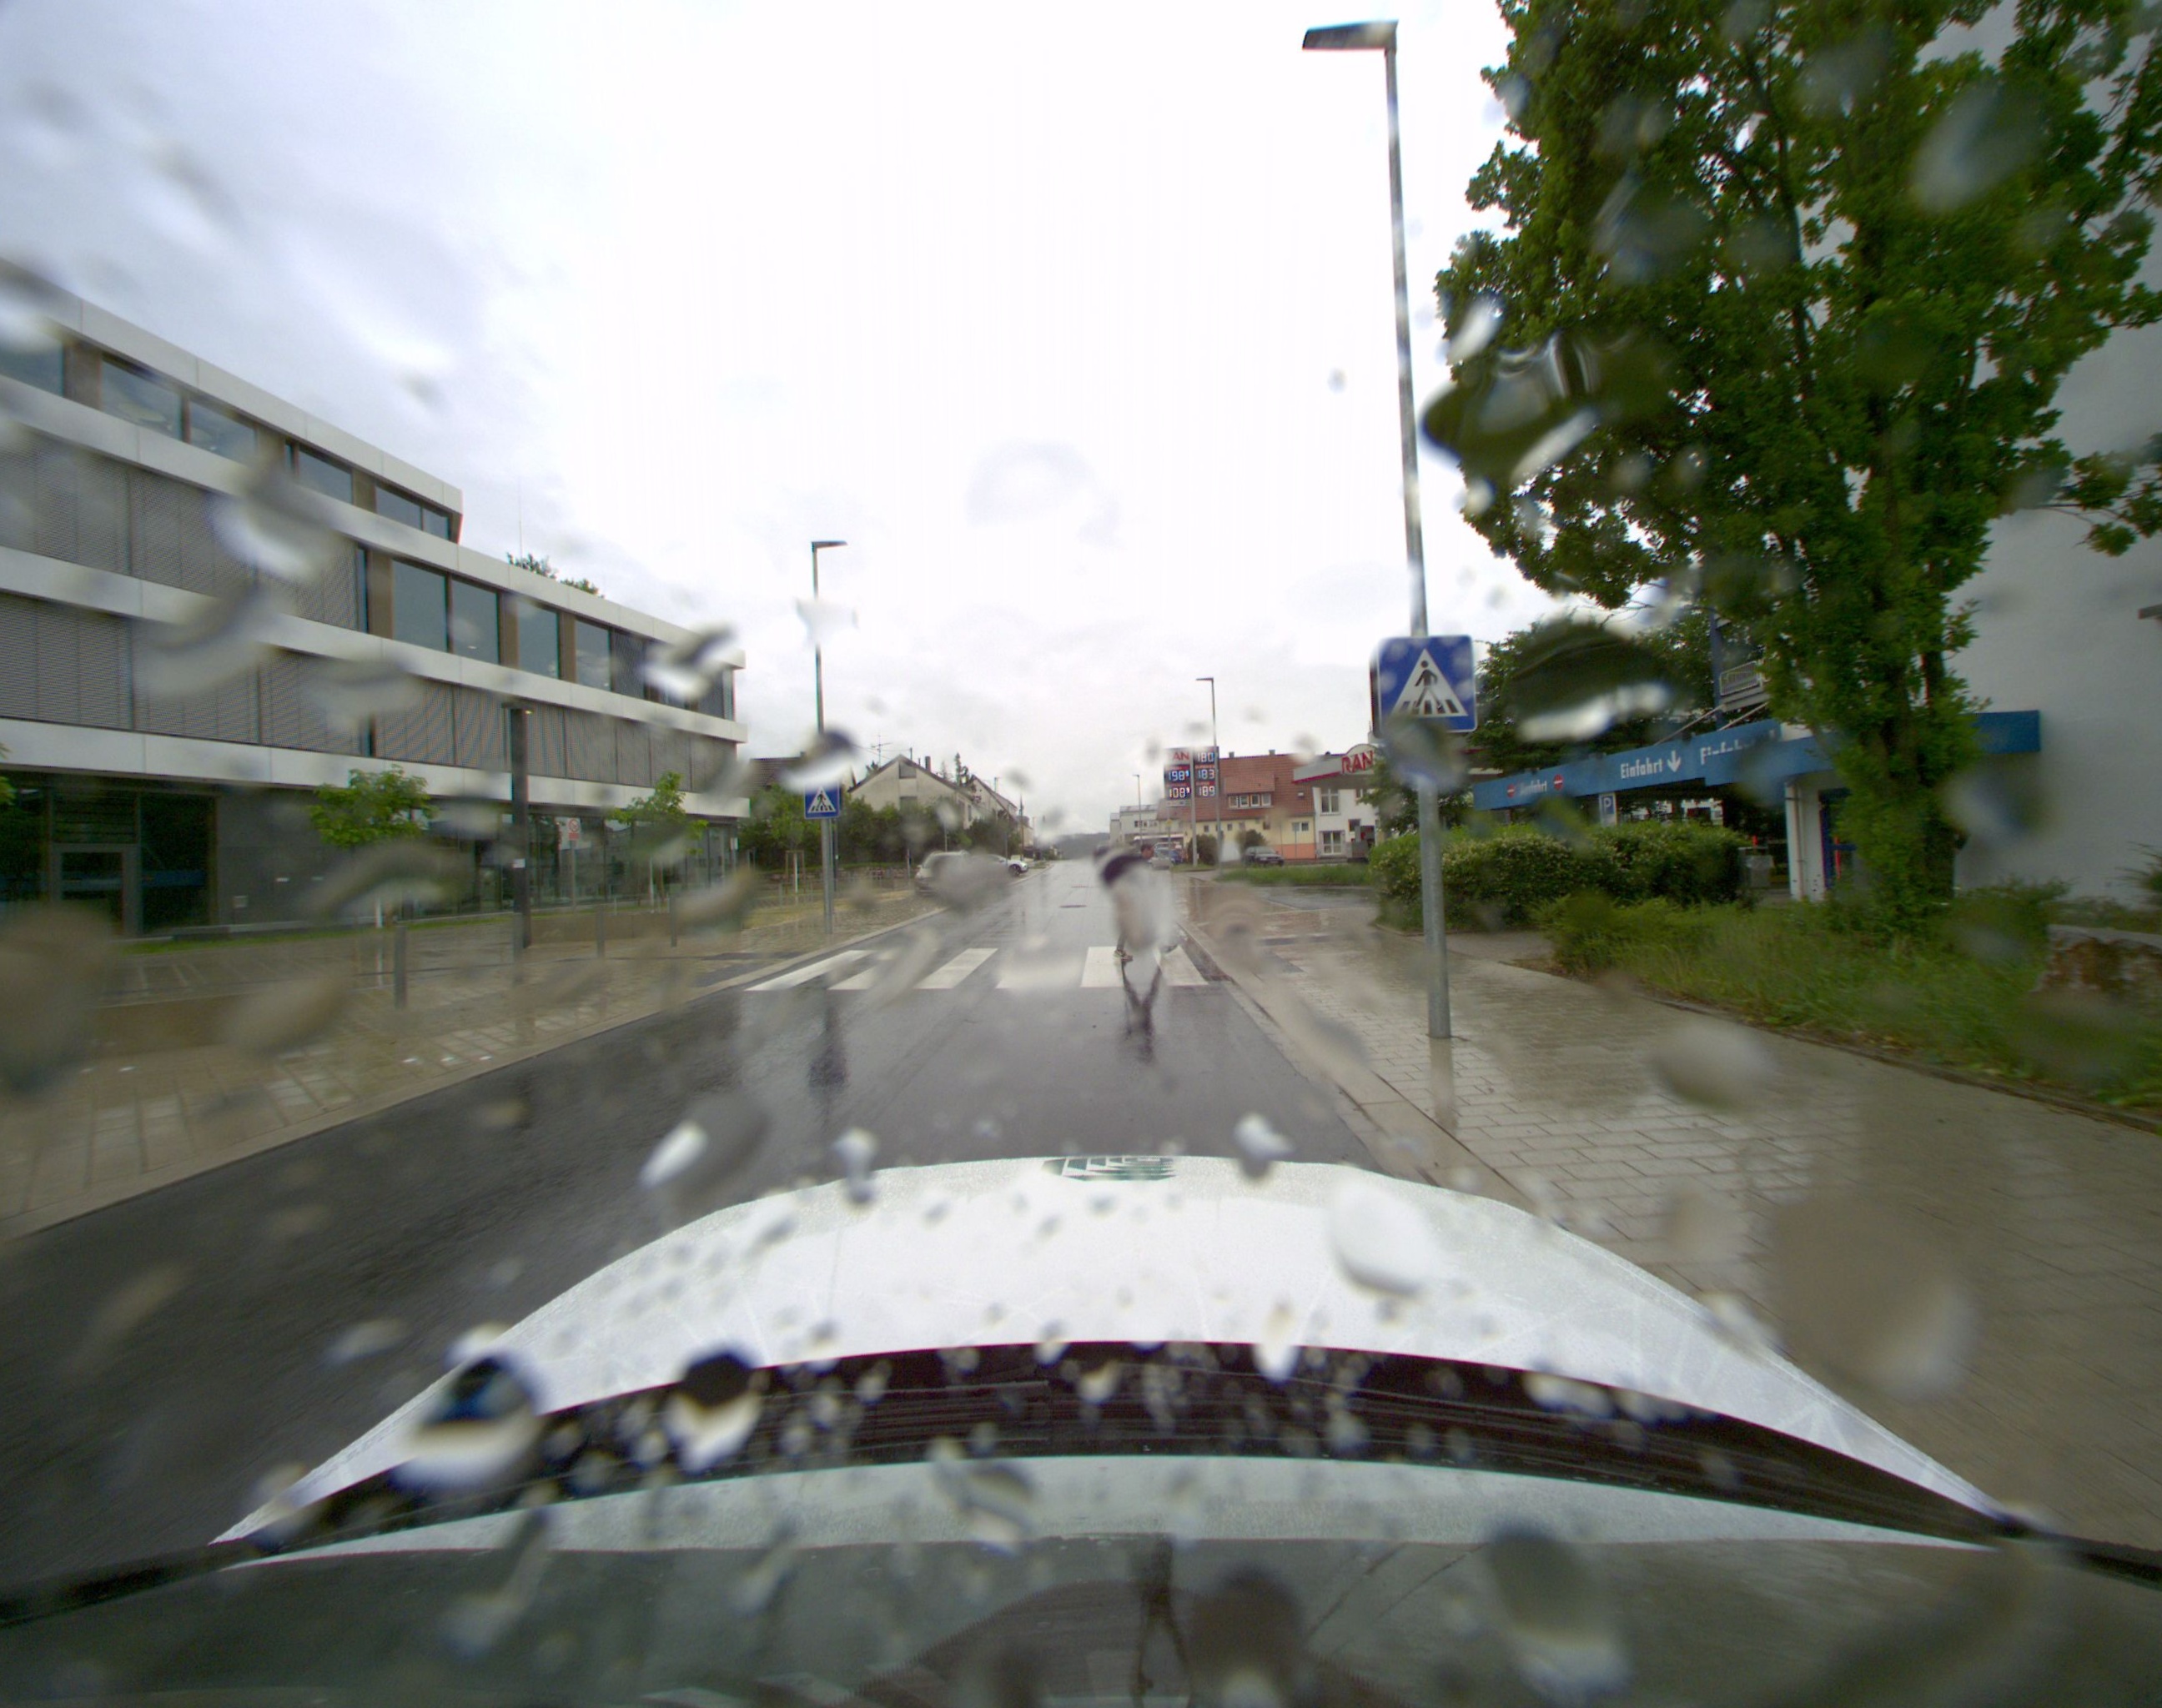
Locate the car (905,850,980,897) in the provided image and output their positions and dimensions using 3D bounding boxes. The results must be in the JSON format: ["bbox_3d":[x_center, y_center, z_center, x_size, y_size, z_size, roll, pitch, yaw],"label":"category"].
[{"bbox_3d":[-5.261,0.690,31.453,1.986,1.629,4.155,-3,0,2],"label":"car"}]

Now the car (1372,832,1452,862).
[{"bbox_3d":[17.624,-0.362,43.357,3.526,1.556,1.942,0,-1,-19],"label":"car"}]

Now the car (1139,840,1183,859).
[{"bbox_3d":[7.927,-0.435,80.849,4.101,1.706,1.787,1,-2,-2],"label":"car"}]

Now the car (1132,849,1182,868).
[{"bbox_3d":[6.416,0.368,68.149,3.962,1.493,1.863,1,-2,10],"label":"car"}]

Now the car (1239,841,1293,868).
[{"bbox_3d":[11.930,0.066,52.794,1.993,1.552,3.986,2,-2,-10],"label":"car"}]

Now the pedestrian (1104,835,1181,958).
[{"bbox_3d":[0.889,0.606,11.973,1.010,1.724,0.772,-2,0,-1],"label":"pedestrian"}]

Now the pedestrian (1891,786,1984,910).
[{"bbox_3d":[13.099,-0.089,12.476,0.567,1.836,0.772,-2,0,-1],"label":"pedestrian"}]

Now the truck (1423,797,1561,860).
[{"bbox_3d":[25.362,-1.490,50.306,7.730,3.445,2.667,2,-2,-14],"label":"truck"}]

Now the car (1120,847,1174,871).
[{"bbox_3d":[4.878,0.396,60.007,1.929,1.556,4.024,0,-3,40],"label":"car"}]

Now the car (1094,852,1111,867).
[{"bbox_3d":[2.559,0.666,96.736,1.986,1.706,4.001,1,-2,2],"label":"car"}]

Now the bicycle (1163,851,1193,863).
[{"bbox_3d":[8.830,0.310,74.199,0.672,1.067,3.594,3,-2,-29],"label":"bicycle"}]

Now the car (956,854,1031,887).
[{"bbox_3d":[-5.807,1.112,54.017,4.749,2.014,1.994,2,-2,-8],"label":"car"}]

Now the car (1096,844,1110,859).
[{"bbox_3d":[2.833,-0.296,103.514,1.776,1.706,4.001,1,-2,2],"label":"car"}]

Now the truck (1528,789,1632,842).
[{"bbox_3d":[21.958,-1.640,36.053,1.990,2.014,3.994,2,-2,-4],"label":"truck"}]

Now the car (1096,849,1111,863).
[{"bbox_3d":[3.026,0.254,109.799,1.986,1.706,4.001,1,-2,2],"label":"car"}]
